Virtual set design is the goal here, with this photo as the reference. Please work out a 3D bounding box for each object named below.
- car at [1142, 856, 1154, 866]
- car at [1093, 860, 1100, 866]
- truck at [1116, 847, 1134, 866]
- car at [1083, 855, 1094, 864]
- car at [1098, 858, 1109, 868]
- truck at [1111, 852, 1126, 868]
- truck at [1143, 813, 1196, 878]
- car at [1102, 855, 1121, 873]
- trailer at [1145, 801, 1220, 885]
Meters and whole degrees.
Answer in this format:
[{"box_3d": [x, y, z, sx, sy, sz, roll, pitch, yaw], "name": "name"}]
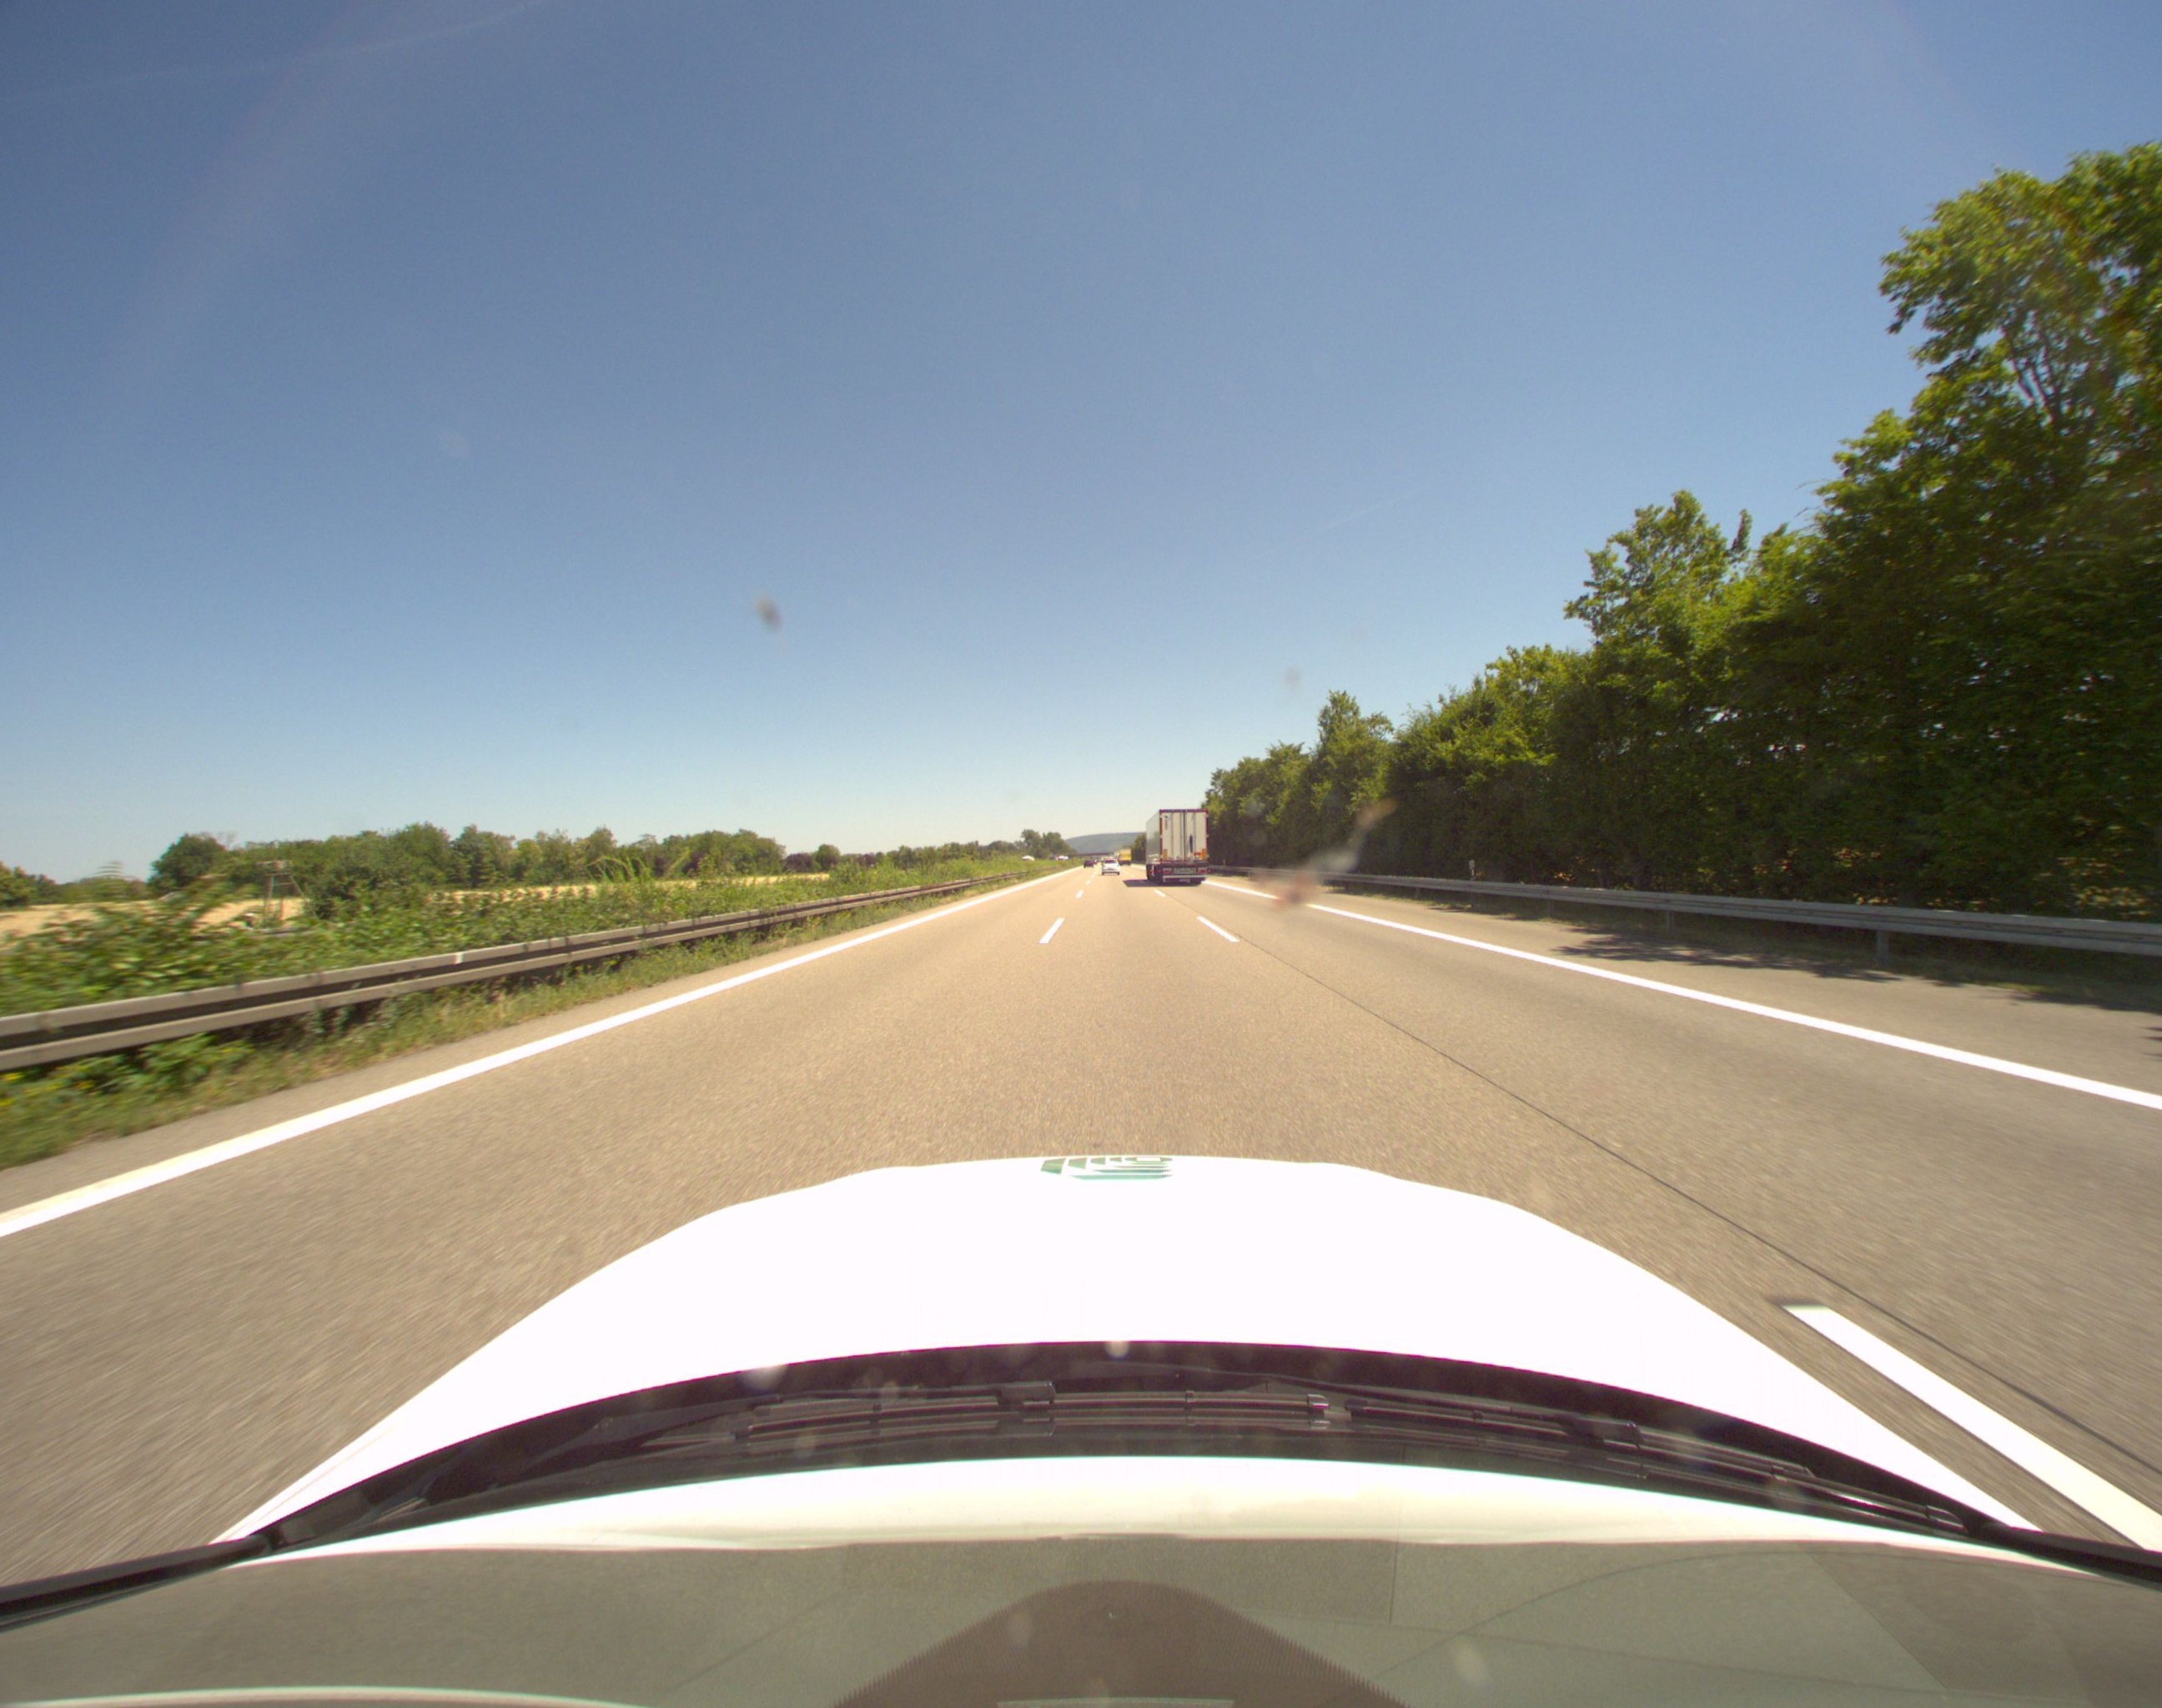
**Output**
[{"box_3d": [12.121, 1.280, 147.852, 1.986, 1.712, 4.001, -2, 0, 1], "name": "car"}, {"box_3d": [4.479, 2.650, 234.774, 1.788, 1.551, 4.002, -1, -1, 2], "name": "car"}, {"box_3d": [10.155, 0.580, 189.615, 3.857, 4.345, 13.866, 0, 0, 2], "name": "truck"}, {"box_3d": [1.345, 0.975, 149.414, 1.986, 1.712, 4.001, 0, 0, 1], "name": "car"}, {"box_3d": [3.889, 1.490, 141.106, 1.780, 1.712, 4.001, 0, 0, 1], "name": "car"}, {"box_3d": [11.334, 1.720, 248.961, 4.255, 4.652, 13.866, -1, -1, 2], "name": "truck"}, {"box_3d": [6.096, -0.552, 57.273, 3.206, 4.345, 6.593, 0, 0, 2], "name": "truck"}, {"box_3d": [2.878, 0.934, 77.936, 1.726, 1.684, 4.001, -2, 0, 1], "name": "car"}, {"box_3d": [5.845, -0.570, 49.290, 3.206, 4.345, 13.634, 0, 0, 2], "name": "trailer"}]
